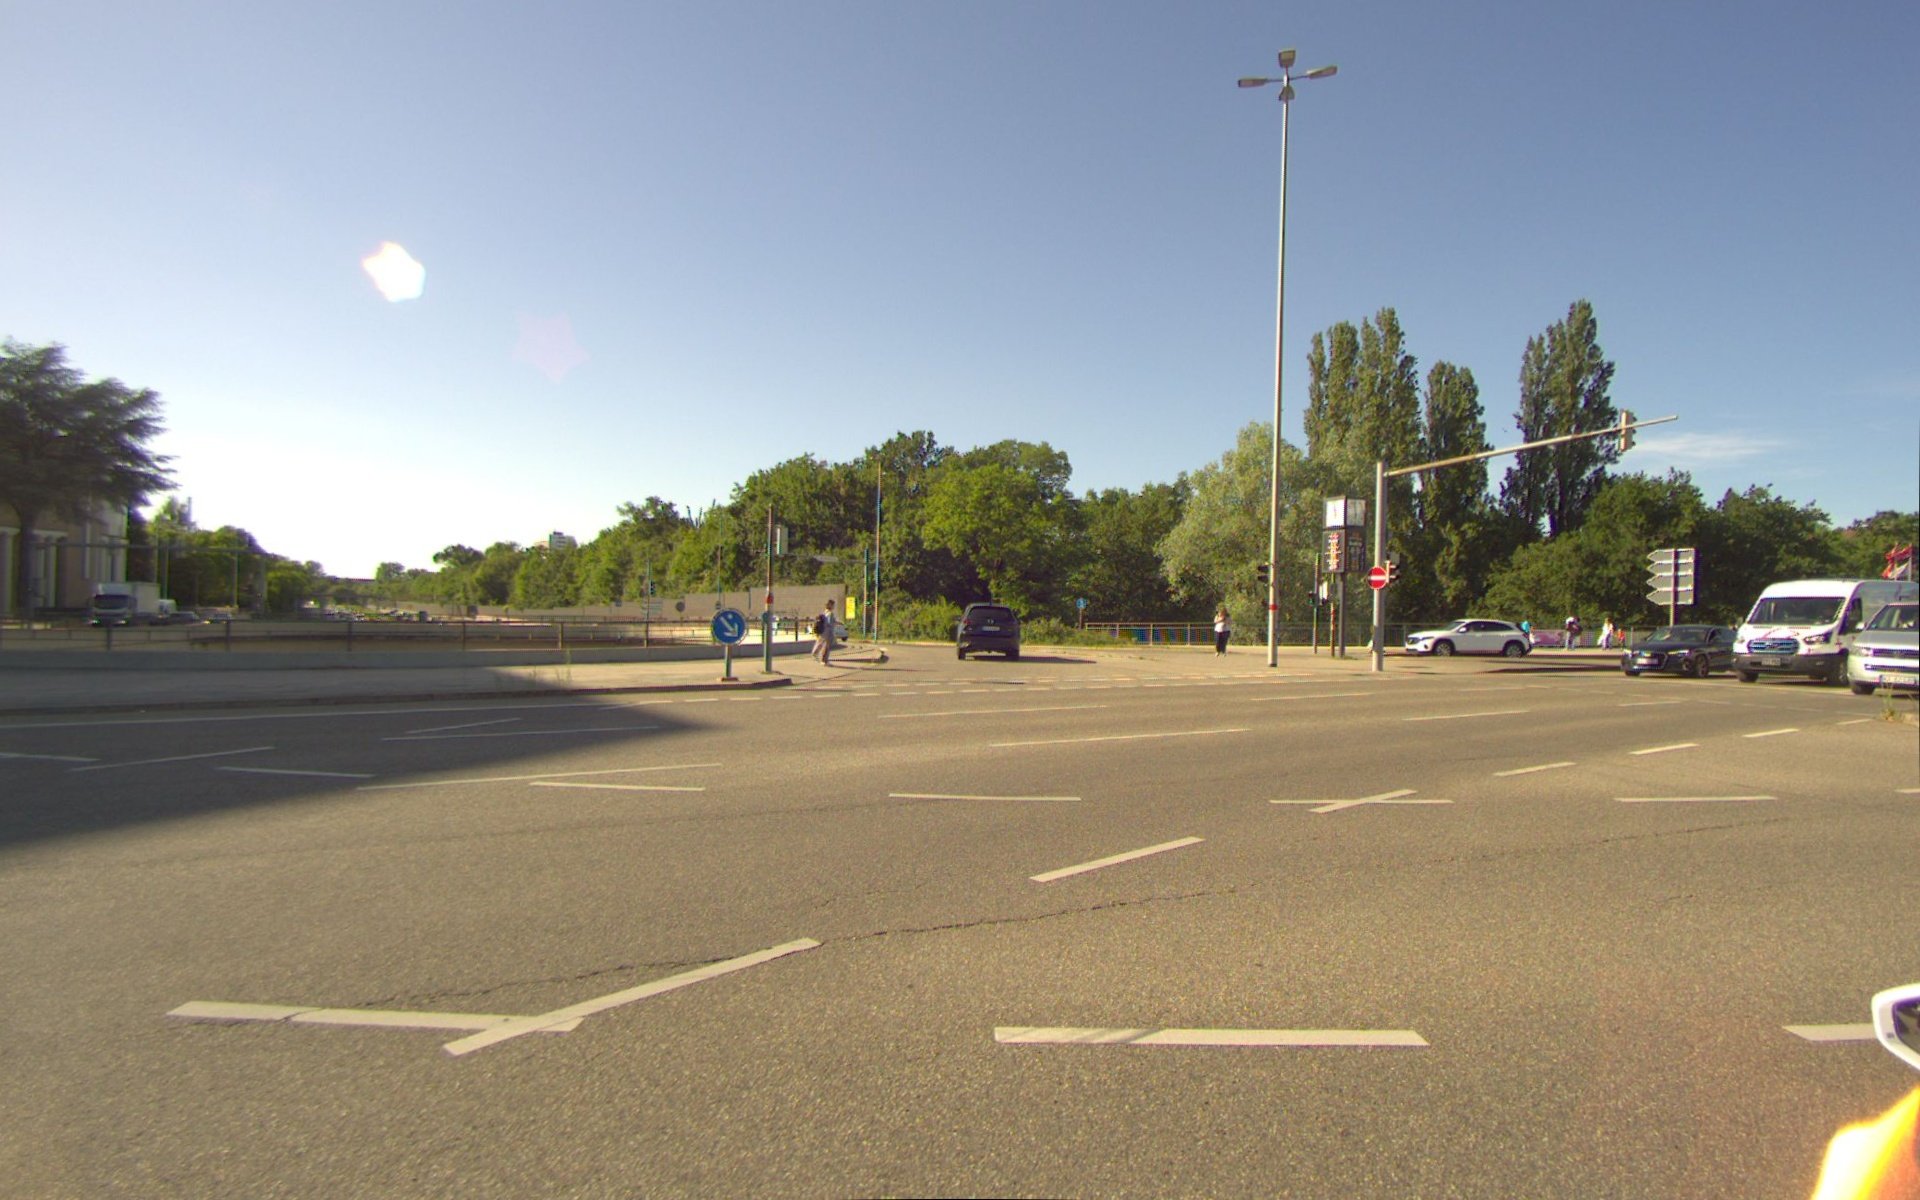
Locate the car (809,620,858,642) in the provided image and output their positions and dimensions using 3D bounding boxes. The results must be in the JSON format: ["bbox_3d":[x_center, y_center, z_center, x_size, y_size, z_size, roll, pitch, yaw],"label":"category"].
[{"bbox_3d":[-8.563,2.089,67.768,1.765,1.433,4.285,1,-1,-29],"label":"car"}]

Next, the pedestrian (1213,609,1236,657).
[{"bbox_3d":[8.865,1.094,33.604,0.697,1.568,0.729,1,0,16],"label":"pedestrian"}]

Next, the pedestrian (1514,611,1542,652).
[{"bbox_3d":[28.204,1.567,49.878,0.777,1.942,0.834,3,0,-25],"label":"pedestrian"}]

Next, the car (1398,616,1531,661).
[{"bbox_3d":[19.494,1.468,38.927,4.244,1.556,1.784,1,1,-1],"label":"car"}]

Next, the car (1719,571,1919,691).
[{"bbox_3d":[20.896,0.742,24.252,6.017,2.610,1.927,1,0,-30],"label":"car"}]

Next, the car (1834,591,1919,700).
[{"bbox_3d":[19.828,0.891,20.189,4.873,2.035,1.927,1,0,-30],"label":"car"}]

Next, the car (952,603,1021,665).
[{"bbox_3d":[0.737,0.977,30.696,1.844,1.732,4.195,1,0,-2],"label":"car"}]

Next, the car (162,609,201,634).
[{"bbox_3d":[-60.508,1.644,78.108,1.720,1.706,4.020,4,0,-29],"label":"car"}]

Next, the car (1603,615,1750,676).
[{"bbox_3d":[19.357,1.191,27.103,3.957,1.527,1.926,1,-2,-33],"label":"car"}]

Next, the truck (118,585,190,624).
[{"bbox_3d":[-70.221,0.342,87.698,3.810,3.057,7.684,1,1,-31],"label":"truck"}]

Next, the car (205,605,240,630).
[{"bbox_3d":[-67.518,1.595,91.967,1.976,2.040,3.969,4,0,-29],"label":"car"}]

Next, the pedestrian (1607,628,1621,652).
[{"bbox_3d":[32.658,2.011,50.170,0.392,1.151,0.422,3,0,-25],"label":"pedestrian"}]

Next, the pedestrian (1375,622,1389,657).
[{"bbox_3d":[19.392,1.807,46.161,0.547,1.568,0.576,0,-2,24],"label":"pedestrian"}]

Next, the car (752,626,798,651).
[{"bbox_3d":[-12.374,2.548,67.046,1.975,1.528,3.971,1,0,-28],"label":"car"}]

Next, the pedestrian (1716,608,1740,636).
[{"bbox_3d":[43.365,1.218,56.700,0.765,1.522,0.671,3,0,-10],"label":"pedestrian"}]

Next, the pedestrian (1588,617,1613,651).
[{"bbox_3d":[32.309,1.718,50.665,0.663,1.663,0.718,3,0,-25],"label":"pedestrian"}]

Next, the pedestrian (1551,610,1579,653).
[{"bbox_3d":[29.717,1.541,49.341,0.777,2.023,0.803,3,0,-25],"label":"pedestrian"}]

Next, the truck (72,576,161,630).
[{"bbox_3d":[-64.890,0.170,77.539,3.809,3.847,9.264,1,1,-31],"label":"truck"}]

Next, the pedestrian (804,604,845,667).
[{"bbox_3d":[-3.278,0.847,24.355,0.670,1.482,0.701,1,0,34],"label":"pedestrian"}]
